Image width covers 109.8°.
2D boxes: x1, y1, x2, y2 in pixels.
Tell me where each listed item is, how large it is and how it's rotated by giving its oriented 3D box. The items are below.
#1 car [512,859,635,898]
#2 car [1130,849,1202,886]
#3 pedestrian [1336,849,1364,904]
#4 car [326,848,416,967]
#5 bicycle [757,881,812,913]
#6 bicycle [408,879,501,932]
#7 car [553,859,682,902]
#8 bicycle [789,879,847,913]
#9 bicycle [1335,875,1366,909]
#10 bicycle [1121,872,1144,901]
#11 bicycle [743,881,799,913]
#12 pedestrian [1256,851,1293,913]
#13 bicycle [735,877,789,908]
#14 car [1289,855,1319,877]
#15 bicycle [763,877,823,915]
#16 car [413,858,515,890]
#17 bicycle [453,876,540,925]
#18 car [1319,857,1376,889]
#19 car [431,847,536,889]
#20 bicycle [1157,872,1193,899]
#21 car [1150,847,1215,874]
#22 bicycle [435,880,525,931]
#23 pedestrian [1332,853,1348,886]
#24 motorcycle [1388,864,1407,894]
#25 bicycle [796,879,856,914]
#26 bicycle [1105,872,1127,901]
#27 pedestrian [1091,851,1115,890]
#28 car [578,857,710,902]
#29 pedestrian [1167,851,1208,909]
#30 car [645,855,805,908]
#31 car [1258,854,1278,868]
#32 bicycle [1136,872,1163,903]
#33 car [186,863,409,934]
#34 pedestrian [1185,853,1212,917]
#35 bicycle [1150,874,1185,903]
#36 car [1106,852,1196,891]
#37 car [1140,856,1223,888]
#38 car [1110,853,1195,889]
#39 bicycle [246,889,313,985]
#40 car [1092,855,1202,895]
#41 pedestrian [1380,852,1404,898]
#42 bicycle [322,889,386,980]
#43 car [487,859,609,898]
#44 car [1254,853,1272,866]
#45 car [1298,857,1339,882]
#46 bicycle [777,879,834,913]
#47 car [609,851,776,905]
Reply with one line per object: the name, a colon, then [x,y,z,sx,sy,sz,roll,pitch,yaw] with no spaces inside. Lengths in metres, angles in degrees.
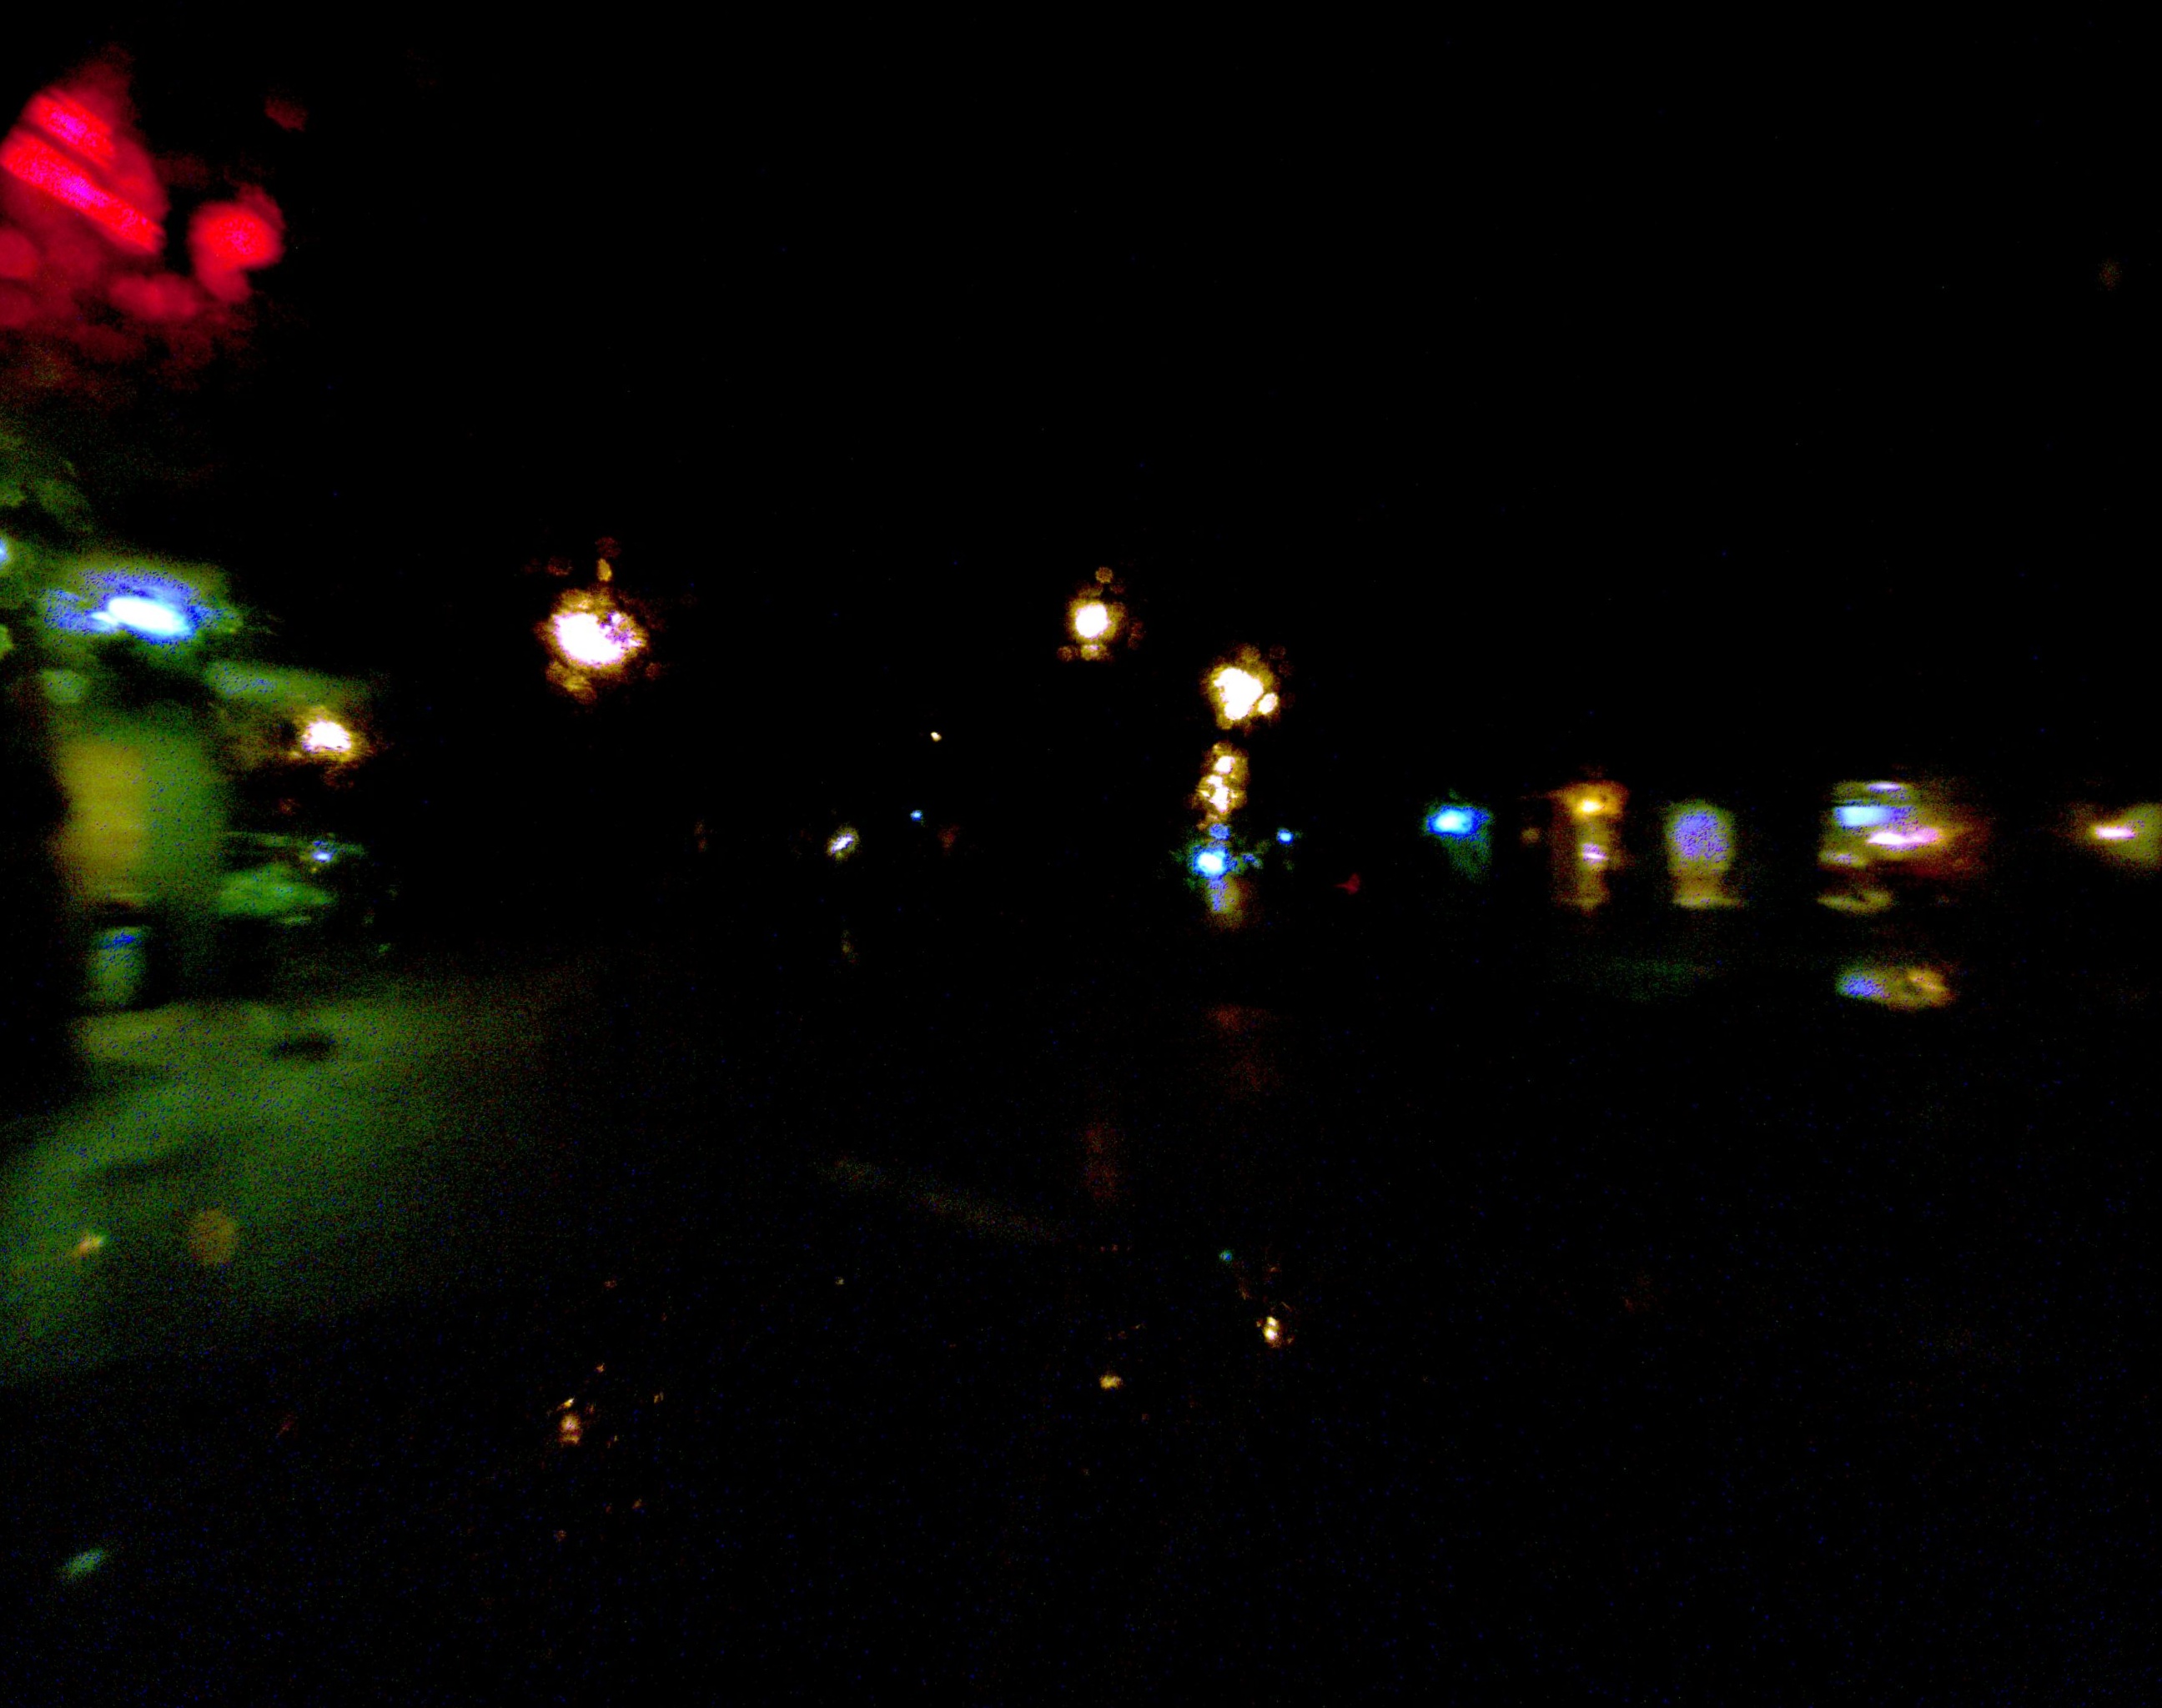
car: [-24.406,1.139,36.691,1.995,1.752,4.472,-1,0,32]
car: [4.855,0.751,43.388,3.745,2.017,1.718,1,0,-26]
pedestrian: [8.986,0.737,25.392,0.713,1.801,1.126,0,0,11]
car: [-11.504,0.838,12.312,0.961,1.830,0.879,-1,-1,35]
bicycle: [-9.851,1.411,25.300,0.402,1.002,1.814,0,0,34]
bicycle: [-15.085,1.239,18.314,1.962,1.170,0.452,-2,1,7]
car: [-20.701,1.124,34.095,1.995,1.752,4.472,-1,0,32]
bicycle: [-8.179,1.286,23.707,0.402,1.002,1.814,0,0,34]
bicycle: [8.989,1.249,25.403,0.713,1.053,1.803,0,0,11]
bicycle: [1.997,1.263,29.679,0.336,1.086,1.644,1,-1,-17]
bicycle: [-10.405,1.421,25.584,0.402,1.002,1.814,0,0,34]
pedestrian: [5.962,0.855,23.507,0.957,1.852,1.416,0,0,8]
bicycle: [-10.869,1.294,25.938,0.402,1.003,1.781,0,0,34]
car: [15.686,0.829,53.595,1.719,1.470,3.789,-2,0,12]
bicycle: [-9.148,1.324,24.177,0.402,1.003,1.813,-2,3,34]
car: [-34.429,1.088,42.474,1.994,1.543,4.008,-2,0,38]
bicycle: [-14.998,1.187,19.508,1.962,1.170,0.452,-2,1,7]
car: [13.195,0.895,37.925,1.850,1.470,5.034,-1,0,10]
car: [-32.126,0.721,40.922,1.995,2.002,4.008,-3,0,38]
bicycle: [3.713,1.236,30.088,0.337,1.020,1.642,1,-1,-37]
car: [8.088,0.501,60.454,4.716,1.969,1.976,-2,1,-20]
bicycle: [-15.026,1.281,19.001,1.962,1.170,0.452,-2,1,7]
pedestrian: [17.252,1.023,50.677,0.800,2.228,1.117,0,0,8]
motorcycle: [16.066,1.234,38.572,0.538,1.462,1.459,-2,0,9]
bicycle: [-7.752,1.270,23.193,0.454,1.002,1.814,0,0,34]
bicycle: [1.340,1.236,29.388,0.336,1.020,1.643,1,1,-17]
pedestrian: [1.054,0.778,36.310,0.789,1.807,0.812,1,2,34]
car: [-18.621,1.054,32.577,1.995,1.752,4.472,-1,0,32]
pedestrian: [3.451,0.823,24.529,0.986,1.823,0.876,-1,1,-44]
car: [-13.102,0.948,28.332,1.995,1.752,5.107,-1,0,32]
car: [21.222,0.776,86.144,1.850,1.470,3.737,-2,0,9]
bicycle: [2.635,1.276,29.391,0.336,1.021,1.642,-1,4,-20]
car: [-20.408,1.097,20.034,1.754,1.568,3.695,-2,0,9]
pedestrian: [3.457,0.895,22.384,0.675,1.821,1.079,-2,0,11]
bicycle: [3.394,1.329,29.878,0.336,1.021,1.641,1,2,-35]
car: [3.252,0.819,35.202,3.745,1.702,1.768,1,0,-25]
car: [5.397,0.964,40.838,4.078,1.588,1.830,1,0,-25]
car: [3.550,0.835,37.660,3.799,1.702,1.745,1,0,-25]
bicycle: [-10.723,1.072,10.153,1.643,1.167,0.385,-2,2,38]
car: [2.767,0.874,32.150,4.267,1.564,1.769,1,0,-19]
pedestrian: [12.030,0.817,29.411,0.827,1.760,0.601,-2,0,22]
bicycle: [-10.273,1.093,10.717,1.781,1.167,0.385,-1,0,38]
car: [-26.395,1.183,37.780,1.995,1.752,4.472,-1,0,32]
car: [23.339,0.635,97.455,1.850,1.571,3.737,-2,0,9]
car: [14.983,0.974,48.175,1.719,1.470,4.162,-1,0,6]
bicycle: [-8.667,1.305,23.982,0.378,1.002,1.814,0,0,34]
car: [-15.013,0.861,29.759,1.995,1.879,5.559,-1,0,32]
